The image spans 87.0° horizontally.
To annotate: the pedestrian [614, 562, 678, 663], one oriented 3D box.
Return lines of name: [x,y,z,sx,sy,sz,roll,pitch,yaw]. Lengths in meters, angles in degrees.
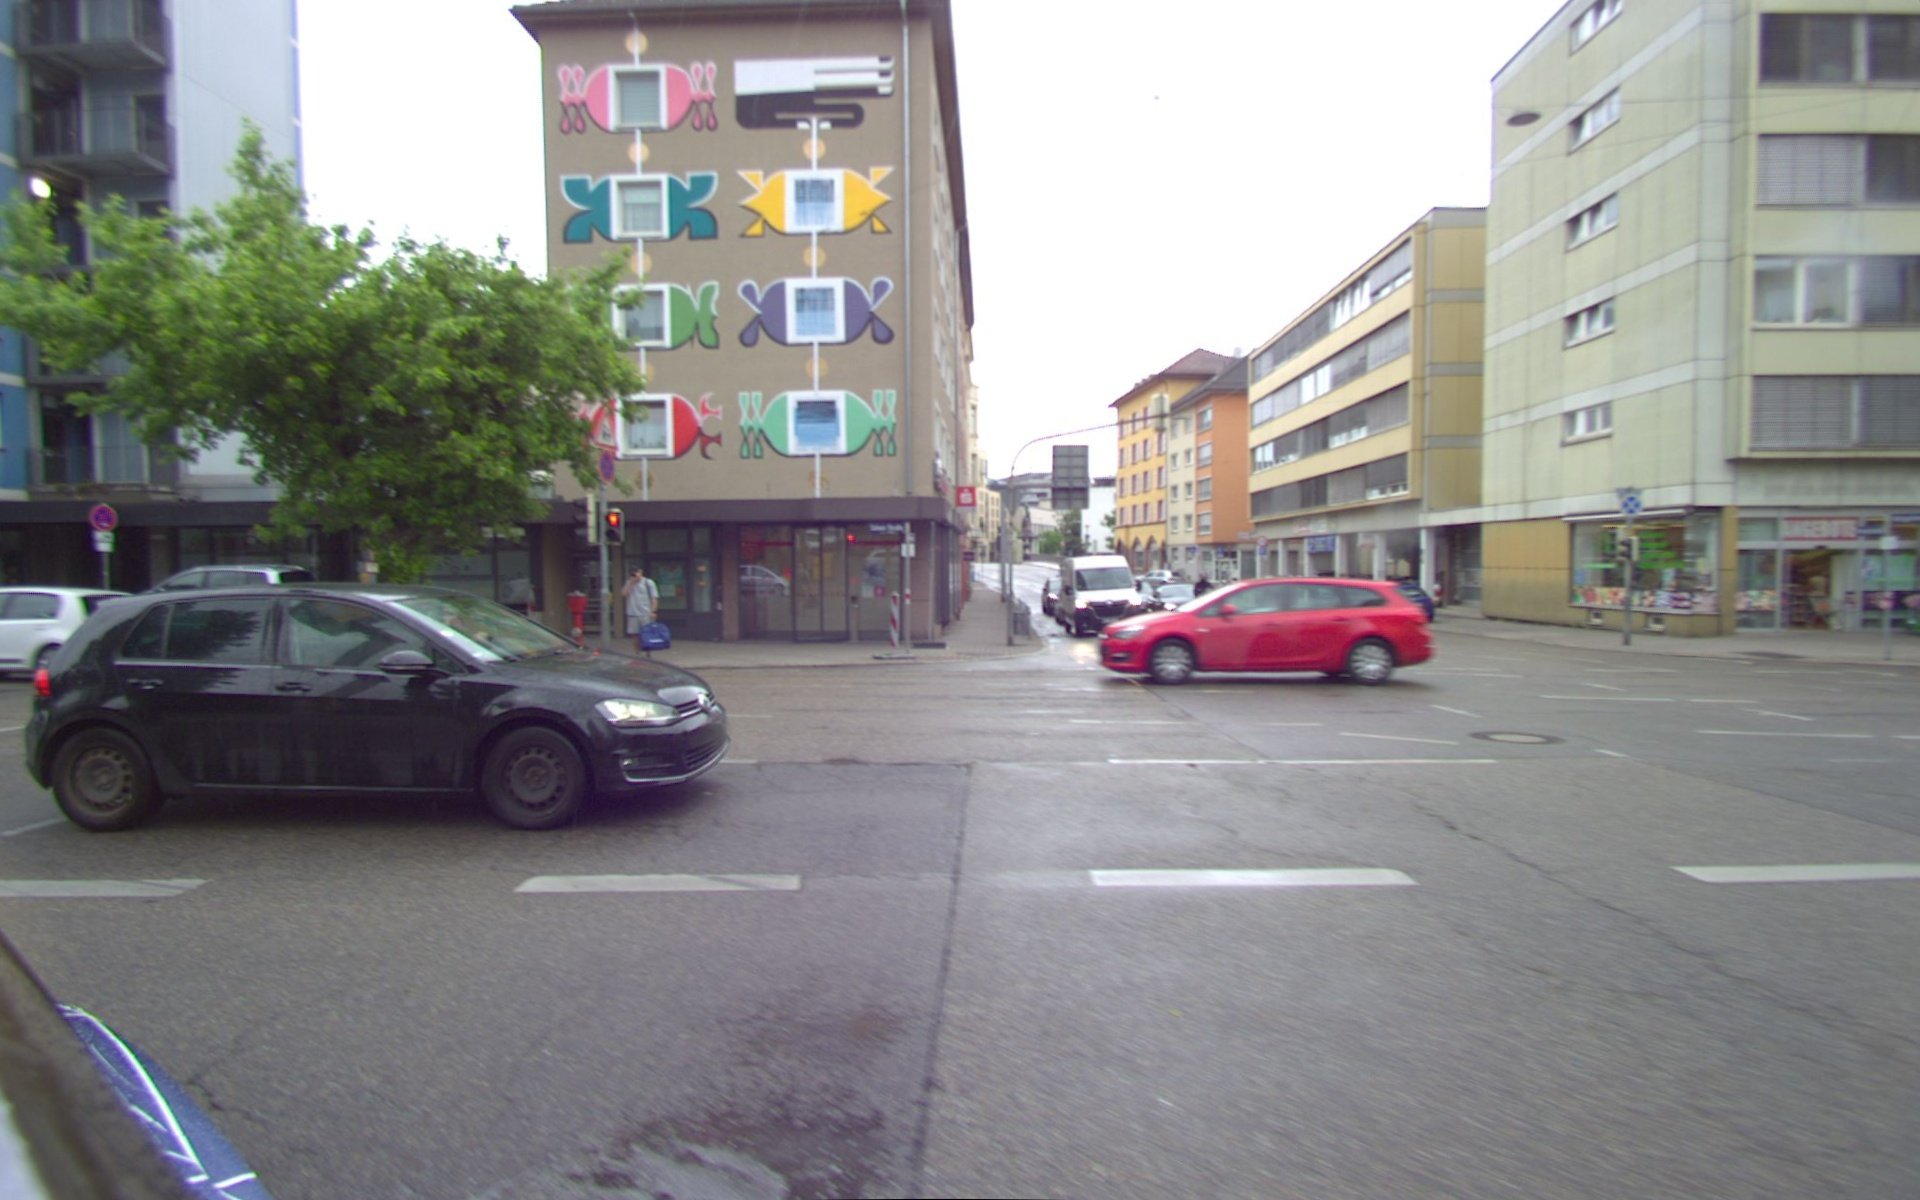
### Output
pedestrian: [-5.705,0.222,18.407,0.891,1.787,0.817,0,0,1]

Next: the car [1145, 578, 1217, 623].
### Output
car: [7.750,0.014,35.821,1.826,1.430,3.566,-3,0,2]

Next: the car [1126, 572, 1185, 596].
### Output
car: [15.049,-1.283,78.161,1.821,1.721,4.378,-2,3,-39]

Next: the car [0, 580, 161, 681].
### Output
car: [-14.910,0.481,15.893,3.395,1.495,1.707,0,-2,2]

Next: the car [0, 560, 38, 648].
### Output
car: [-20.427,0.047,19.364,4.129,1.678,1.650,1,2,2]

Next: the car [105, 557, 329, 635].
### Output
car: [-17.468,-0.126,23.903,4.129,1.678,1.650,1,2,2]

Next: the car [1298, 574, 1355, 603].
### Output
car: [21.869,-0.659,60.536,1.825,1.579,4.366,-3,0,2]

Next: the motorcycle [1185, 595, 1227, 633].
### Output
motorcycle: [7.403,0.404,30.500,0.867,1.108,1.799,0,0,2]

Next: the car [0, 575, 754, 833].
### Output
car: [-3.563,0.567,6.540,4.110,1.435,1.687,0,2,2]

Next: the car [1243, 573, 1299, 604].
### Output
car: [17.216,-0.626,56.161,1.826,1.579,4.366,-3,0,2]

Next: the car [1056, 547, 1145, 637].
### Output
car: [4.389,-0.244,32.489,2.203,2.543,5.467,-2,0,2]

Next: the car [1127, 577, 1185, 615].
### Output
car: [8.302,-0.170,43.191,1.826,1.430,3.566,-3,0,2]

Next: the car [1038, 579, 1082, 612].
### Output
car: [4.719,-0.223,48.266,1.826,1.430,3.566,-3,0,2]

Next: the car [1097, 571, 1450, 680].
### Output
car: [4.291,0.335,14.433,4.524,1.434,1.705,0,0,5]

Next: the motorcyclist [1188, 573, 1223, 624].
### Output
motorcyclist: [7.402,-0.046,30.544,0.867,1.490,0.796,0,0,2]

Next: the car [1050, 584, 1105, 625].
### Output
car: [4.587,0.169,40.089,1.826,1.489,3.566,-3,0,2]

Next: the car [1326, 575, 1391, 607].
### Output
car: [21.674,-0.498,55.262,1.825,1.579,4.366,-3,0,2]

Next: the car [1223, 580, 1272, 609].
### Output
car: [17.355,-0.335,61.304,1.826,1.579,4.366,-3,0,2]
